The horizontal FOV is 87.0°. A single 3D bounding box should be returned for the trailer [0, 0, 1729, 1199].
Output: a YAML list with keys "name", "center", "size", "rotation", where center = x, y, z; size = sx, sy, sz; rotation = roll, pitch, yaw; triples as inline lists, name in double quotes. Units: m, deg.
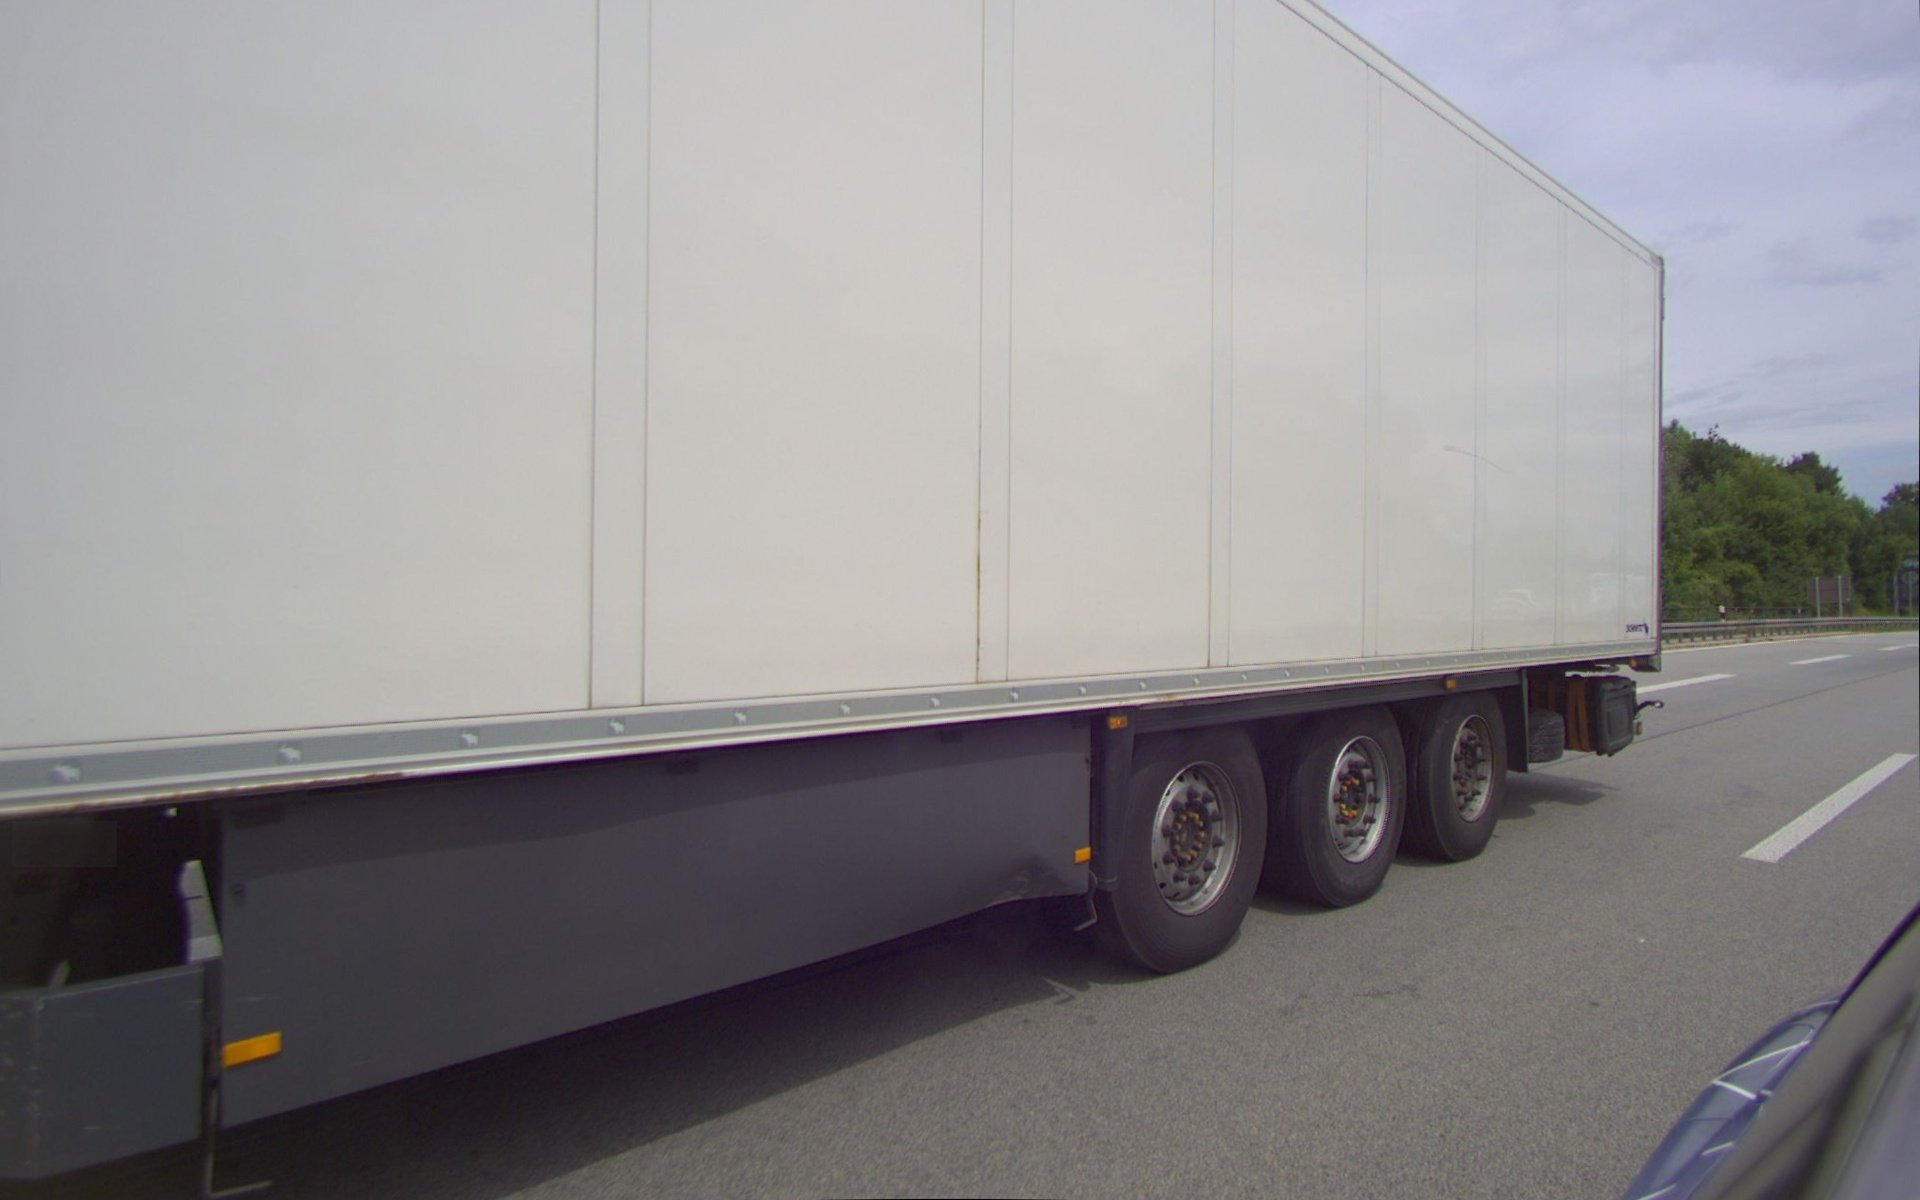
- name: "trailer"
  center: [-0.185, -0.570, 4.736]
  size: [13.544, 3.940, 3.068]
  rotation: [0, 0, -40]
